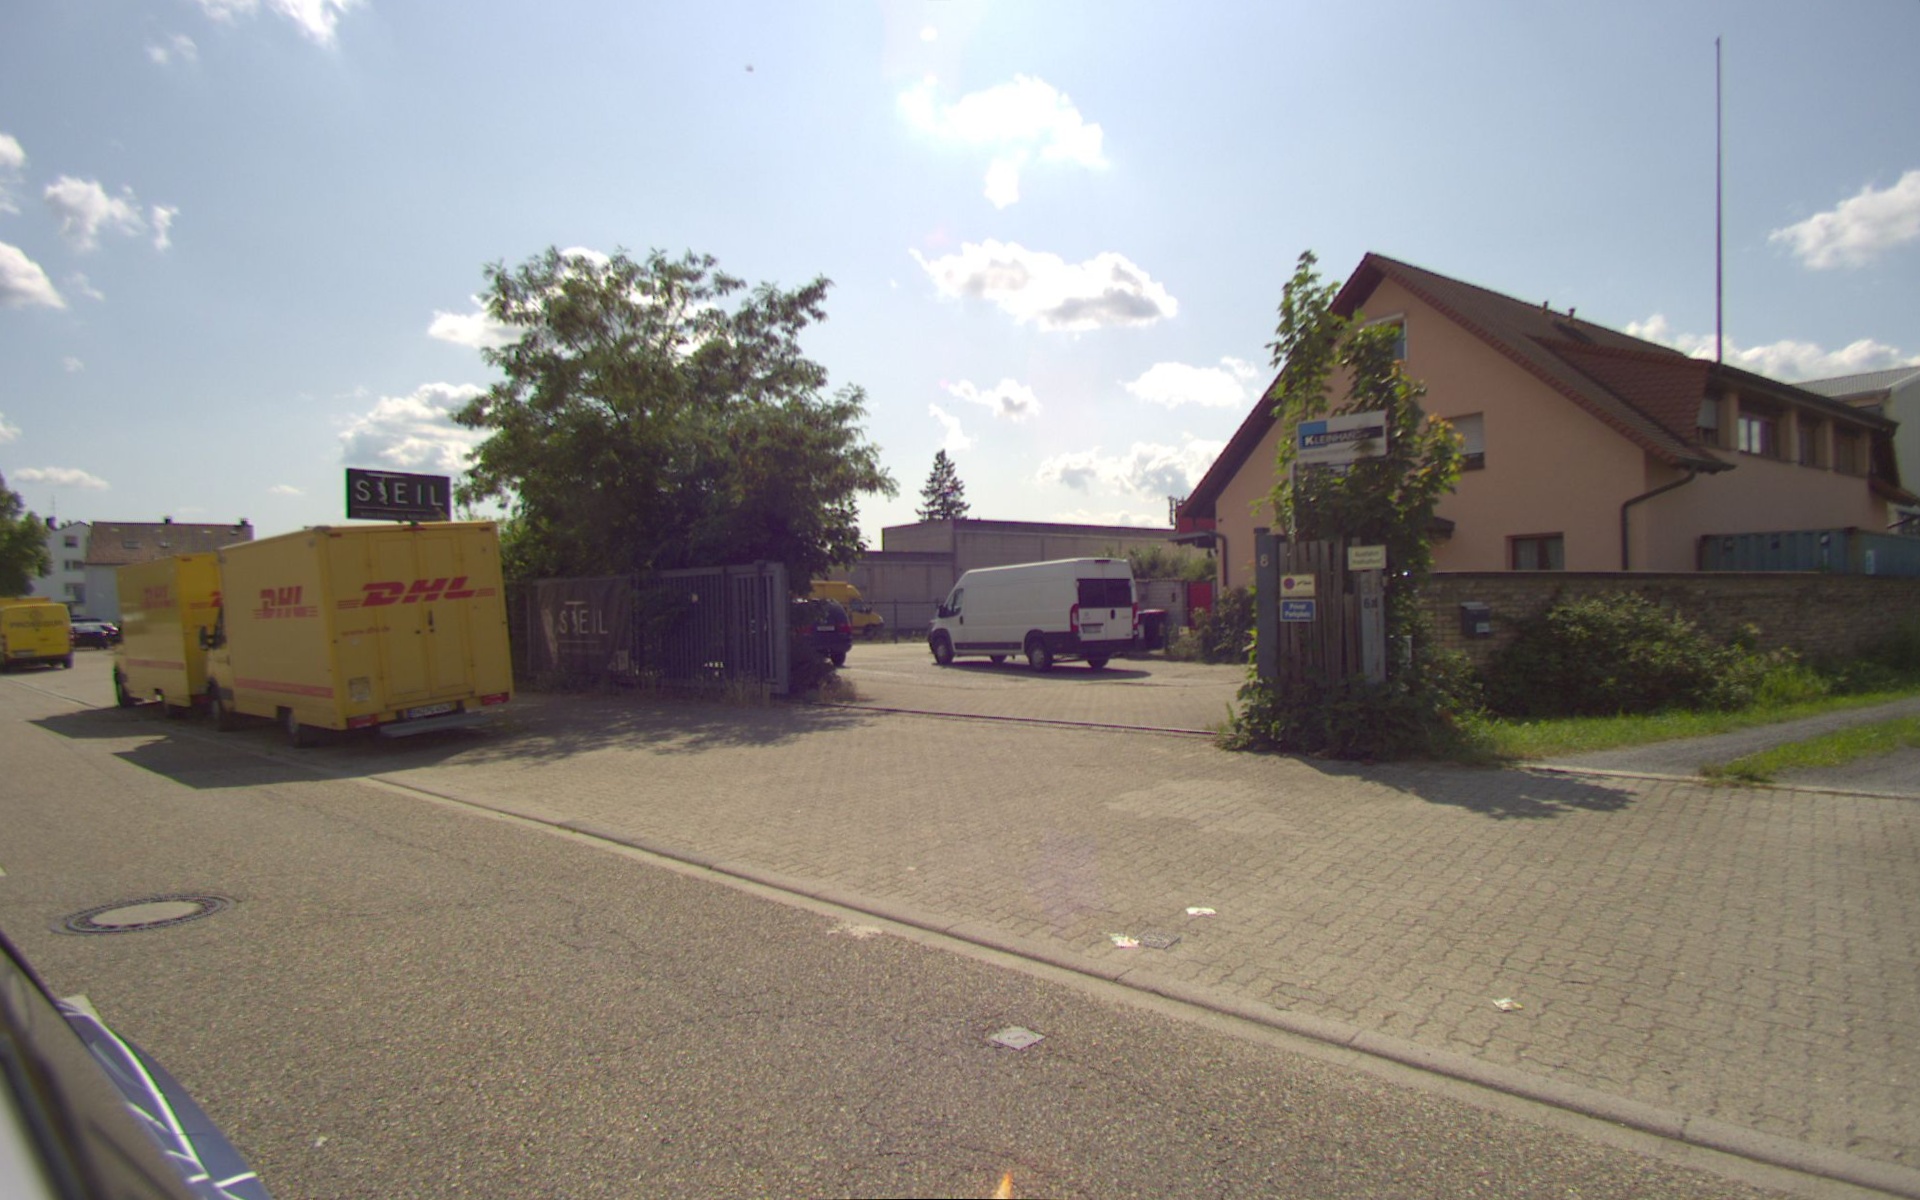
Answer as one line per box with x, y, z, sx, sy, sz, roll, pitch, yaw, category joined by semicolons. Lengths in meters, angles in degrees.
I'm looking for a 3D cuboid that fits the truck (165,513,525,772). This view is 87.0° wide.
-9.067;0.513;14.499;7.101;2.884;2.292;-2;1;41;truck

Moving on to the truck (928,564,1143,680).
1.658;0.542;24.895;2.082;2.507;5.734;-1;-1;-35;truck

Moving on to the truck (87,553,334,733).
-14.503;0.763;19.331;7.170;2.876;2.246;-2;0;41;truck

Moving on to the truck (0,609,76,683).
-34.163;1.661;37.097;6.064;2.432;1.972;-2;0;43;truck

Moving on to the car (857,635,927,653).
-2.931;1.888;43.693;3.015;0.727;1.010;0;-2;-40;car

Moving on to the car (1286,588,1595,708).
7.032;0.664;14.868;3.930;1.527;1.901;-1;-2;-23;car

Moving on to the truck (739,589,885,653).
-6.794;0.935;46.857;6.331;2.786;2.330;0;-2;-35;truck

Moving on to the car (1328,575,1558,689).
8.911;0.530;18.649;3.931;1.913;1.744;-1;-1;-27;car

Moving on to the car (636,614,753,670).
-6.952;1.094;26.265;1.785;1.315;3.879;0;-3;-34;car

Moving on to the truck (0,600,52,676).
-39.414;1.586;41.794;7.069;2.878;2.196;-2;0;43;truck

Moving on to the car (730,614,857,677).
-4.474;1.168;26.828;1.742;1.524;3.926;-1;-1;-36;car
